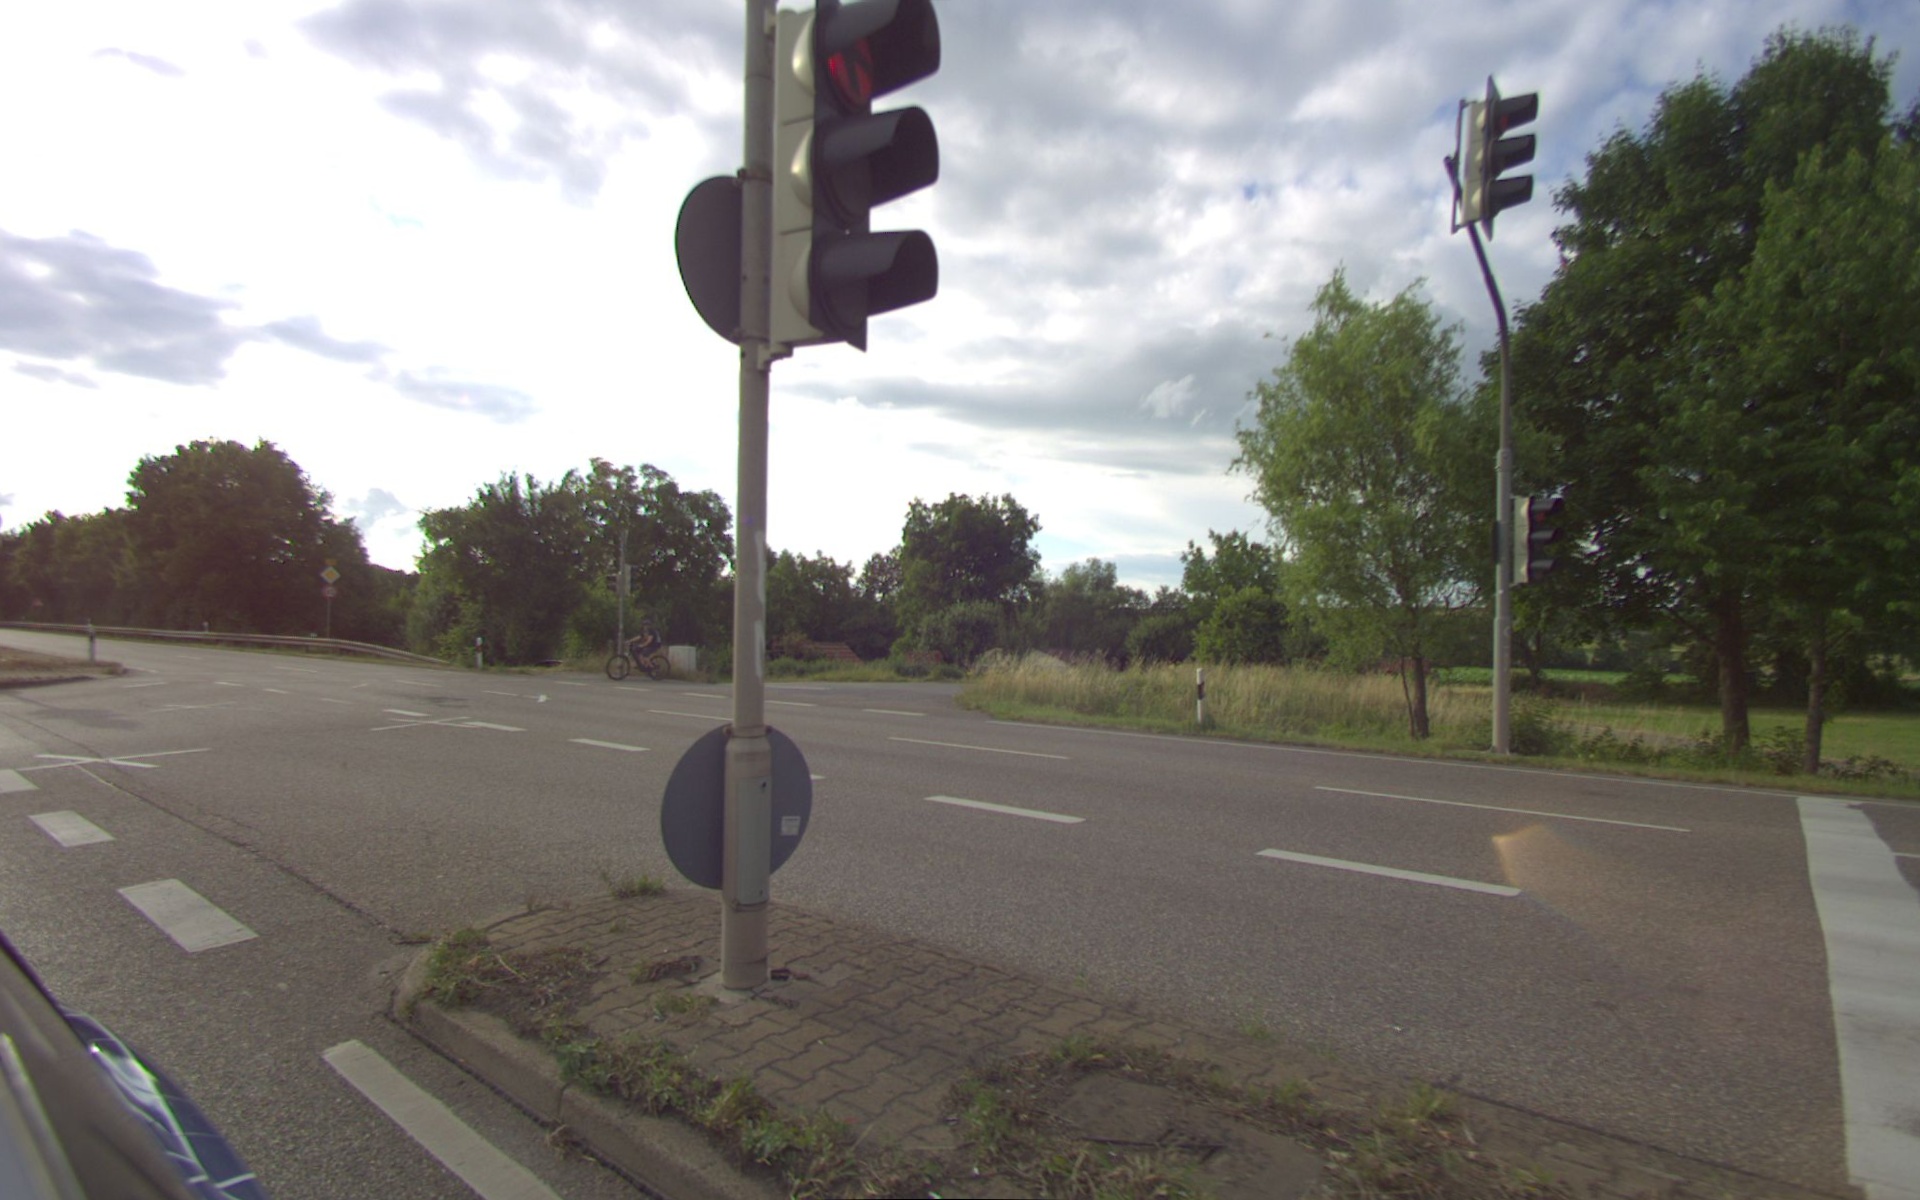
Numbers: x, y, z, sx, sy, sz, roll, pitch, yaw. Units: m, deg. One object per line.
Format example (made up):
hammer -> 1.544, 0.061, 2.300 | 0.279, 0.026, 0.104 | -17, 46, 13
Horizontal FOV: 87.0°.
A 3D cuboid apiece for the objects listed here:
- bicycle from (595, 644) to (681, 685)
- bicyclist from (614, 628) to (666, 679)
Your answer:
bicycle -> -9.429, 1.887, 29.707 | 2.293, 1.146, 0.816 | 3, -3, -44
bicyclist -> -9.406, 1.572, 29.743 | 1.208, 1.462, 0.816 | 3, -3, -44
